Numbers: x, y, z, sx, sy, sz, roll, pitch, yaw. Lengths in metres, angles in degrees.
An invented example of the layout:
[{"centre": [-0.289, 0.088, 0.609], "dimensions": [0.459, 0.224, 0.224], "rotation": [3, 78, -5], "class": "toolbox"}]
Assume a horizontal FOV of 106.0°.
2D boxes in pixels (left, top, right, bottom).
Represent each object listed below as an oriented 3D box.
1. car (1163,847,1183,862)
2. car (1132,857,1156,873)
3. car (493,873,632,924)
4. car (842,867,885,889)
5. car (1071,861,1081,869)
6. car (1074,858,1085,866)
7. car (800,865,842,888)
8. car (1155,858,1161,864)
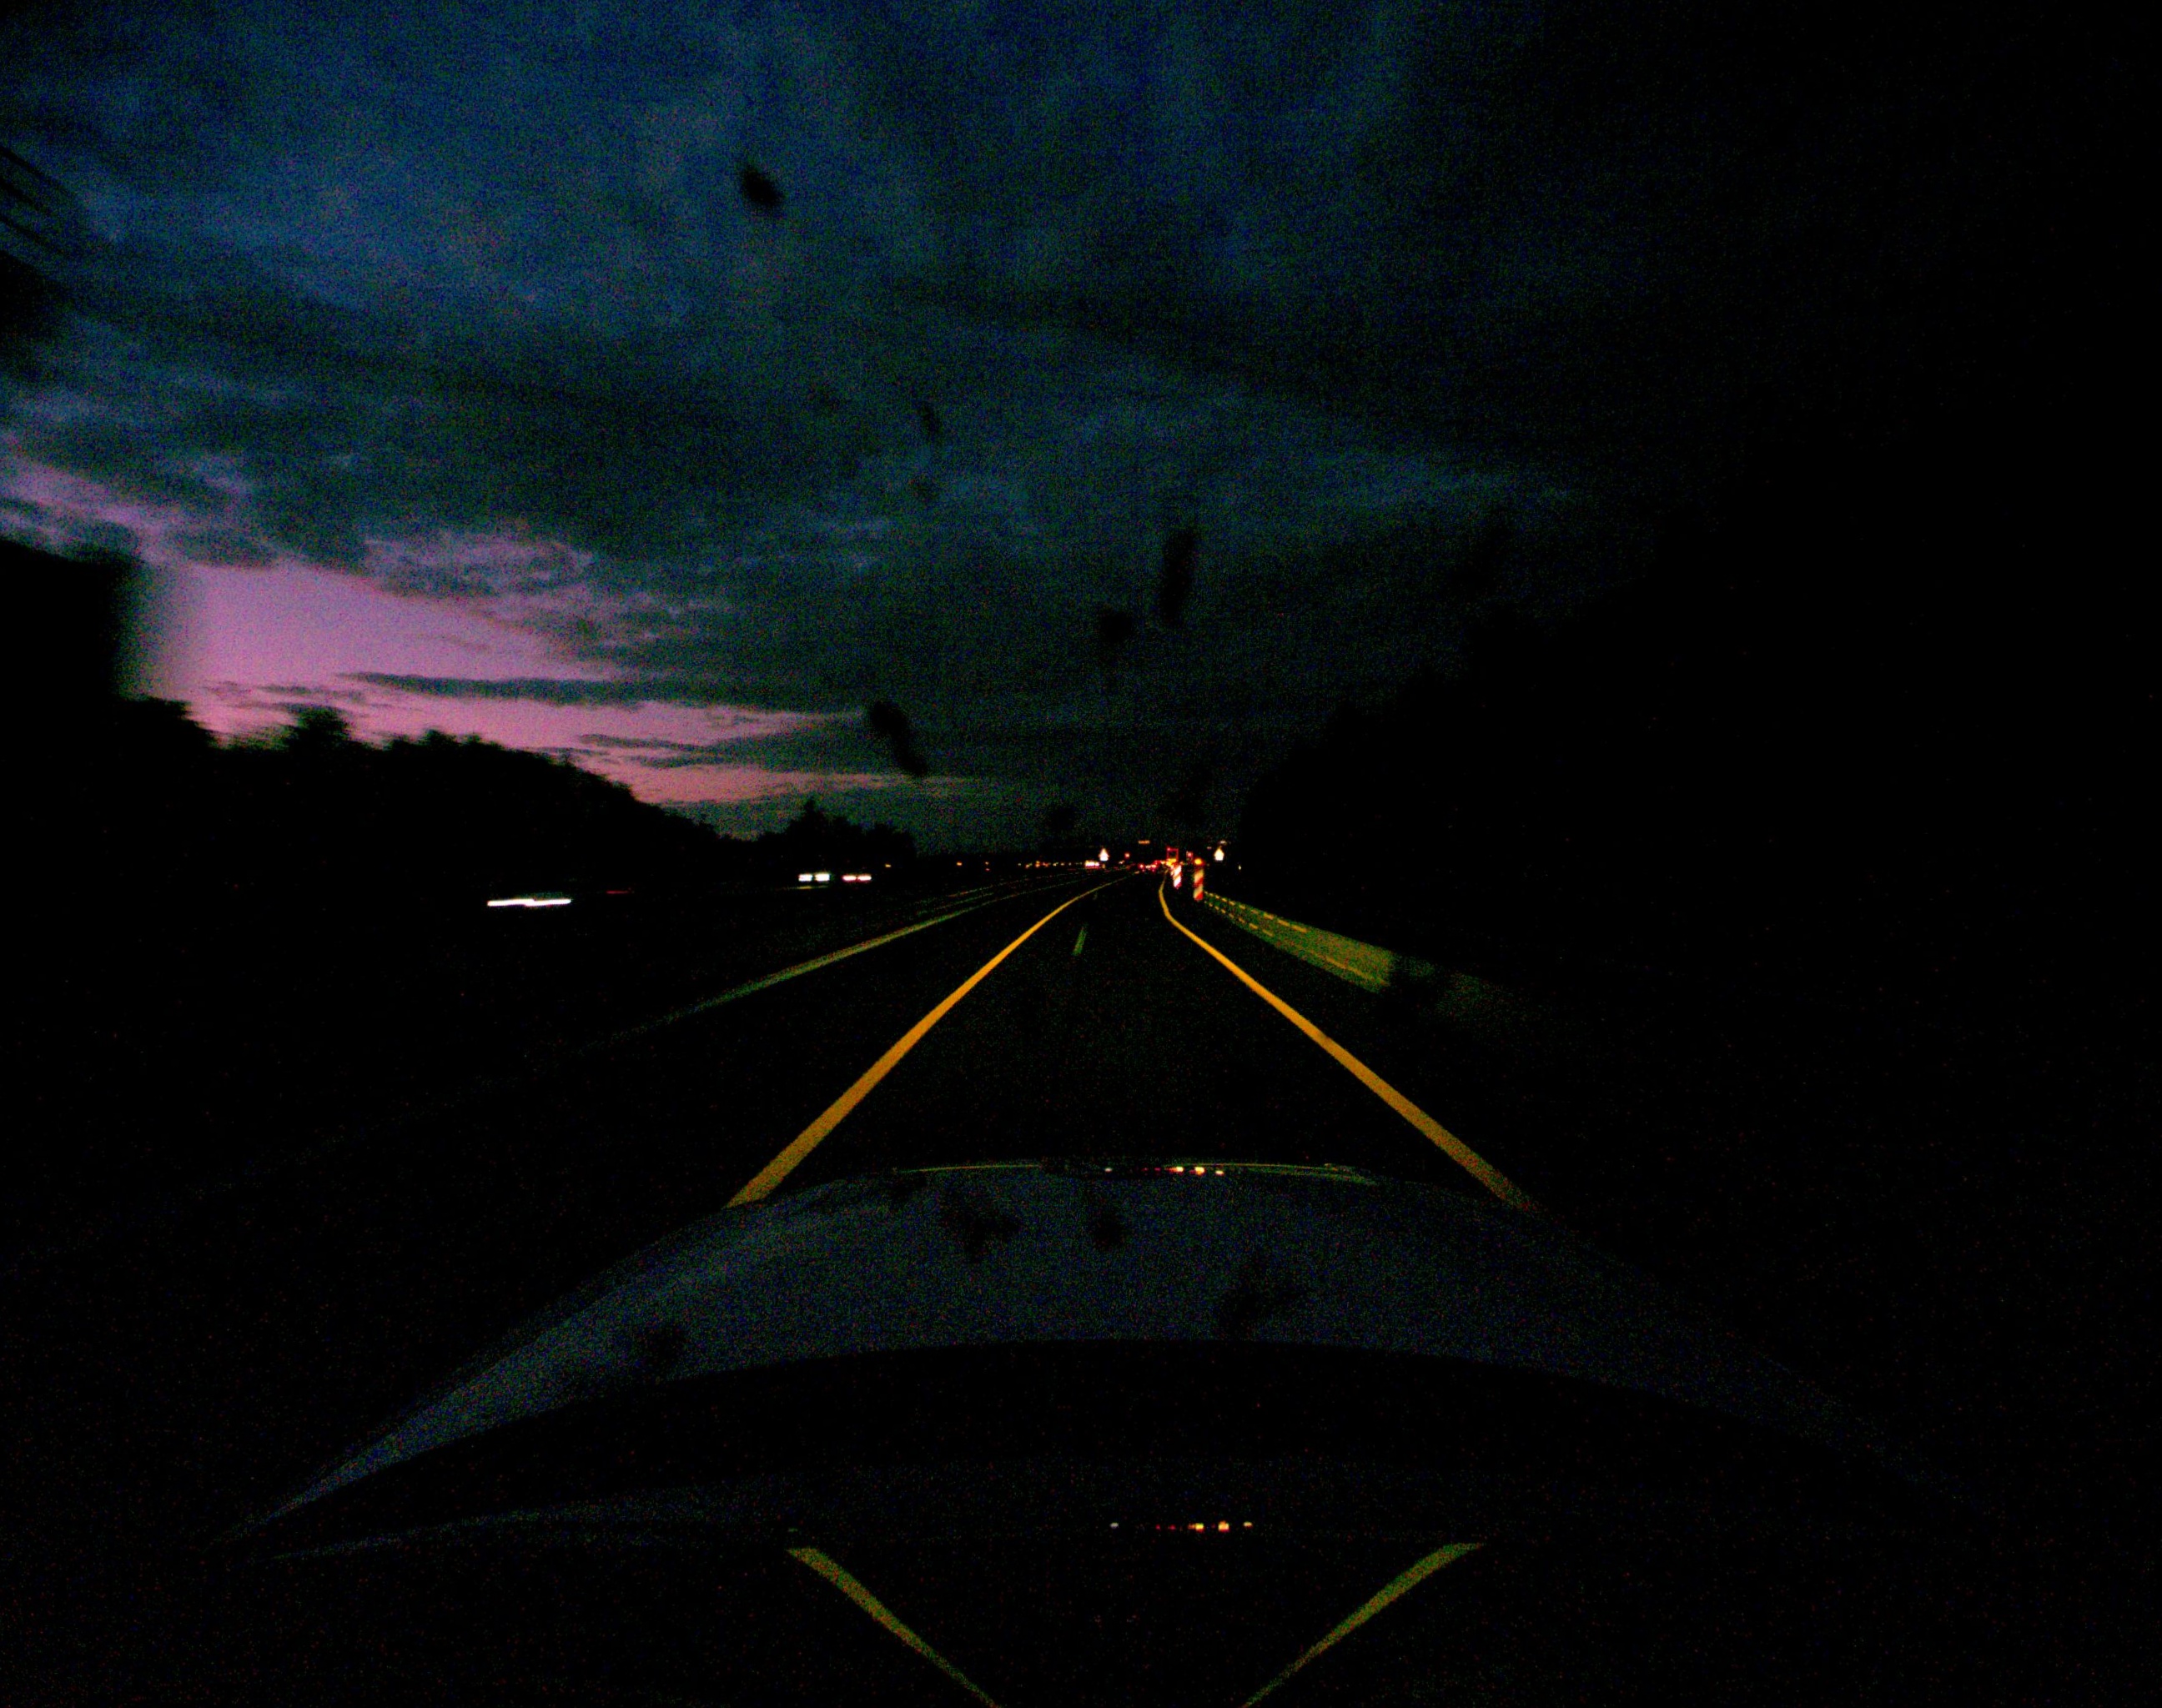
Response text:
[{"centre": [21.681, 0.180, 192.626], "dimensions": [3.595, 3.396, 8.010], "rotation": [0, -1, -1], "class": "car"}, {"centre": [6.645, 1.136, 85.826], "dimensions": [2.257, 1.621, 4.000], "rotation": [0, -1, 1], "class": "car"}, {"centre": [-19.009, 1.589, 30.187], "dimensions": [1.822, 1.661, 4.845], "rotation": [0, -1, 3], "class": "car"}, {"centre": [-17.147, 1.864, 64.575], "dimensions": [1.822, 1.661, 4.845], "rotation": [0, -1, 3], "class": "car"}, {"centre": [-1.099, 2.448, 179.847], "dimensions": [1.984, 1.714, 4.006], "rotation": [0, -1, 5], "class": "car"}, {"centre": [-0.318, 1.872, 186.876], "dimensions": [1.984, 1.828, 4.006], "rotation": [0, -1, 5], "class": "car"}, {"centre": [-20.973, 1.784, 65.822], "dimensions": [1.898, 1.715, 3.948], "rotation": [0, -1, 4], "class": "car"}, {"centre": [24.490, 2.273, 259.601], "dimensions": [1.984, 2.014, 4.005], "rotation": [0, -1, 5], "class": "car"}]
